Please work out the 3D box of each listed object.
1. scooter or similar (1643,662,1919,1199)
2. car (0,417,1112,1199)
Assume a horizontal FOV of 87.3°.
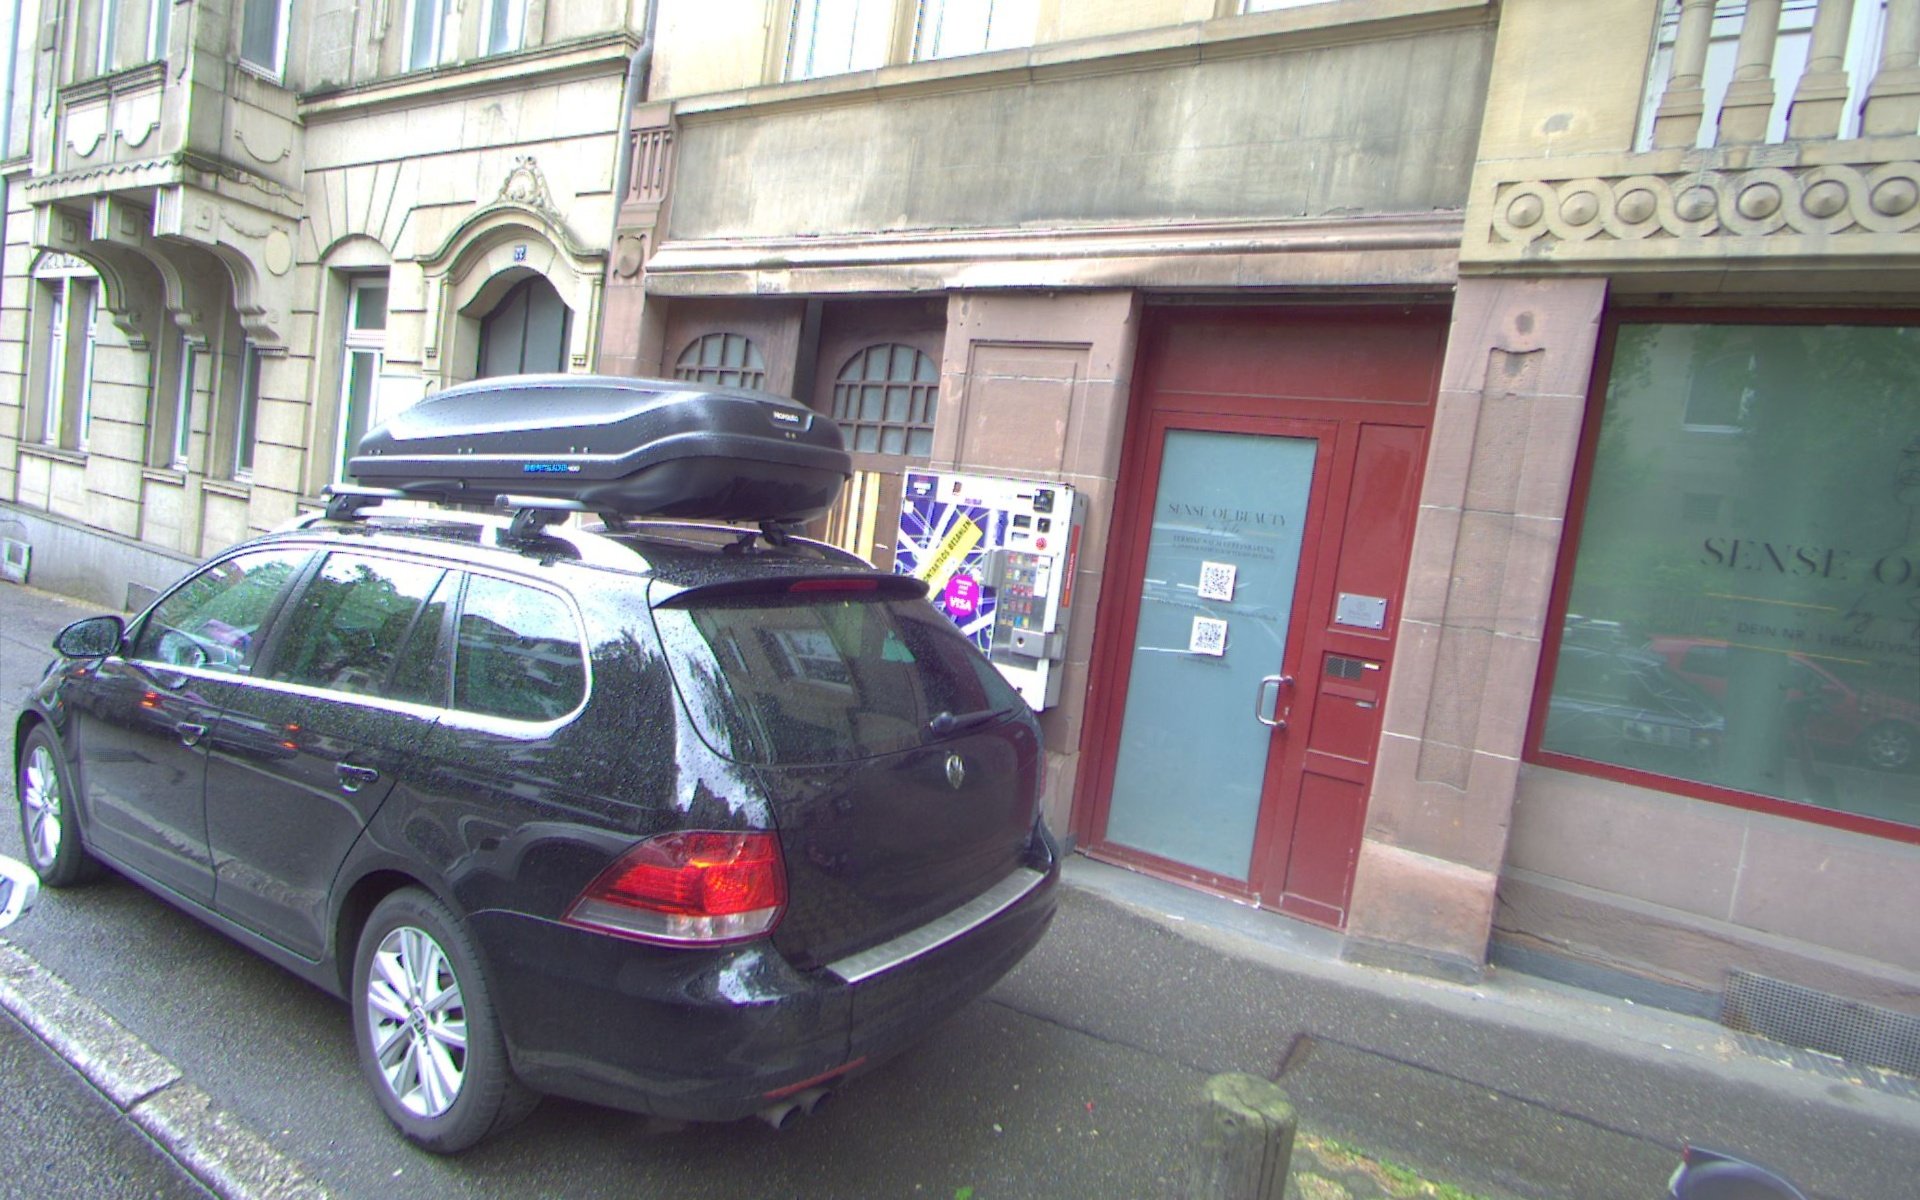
[{"bbox_3d":[2.149,0.870,1.958,1.183,1.336,0.593,7,3,32],"label":"scooter or similar"},{"bbox_3d":[-1.748,0.337,3.492,4.031,1.675,1.757,7,6,32],"label":"car"}]
